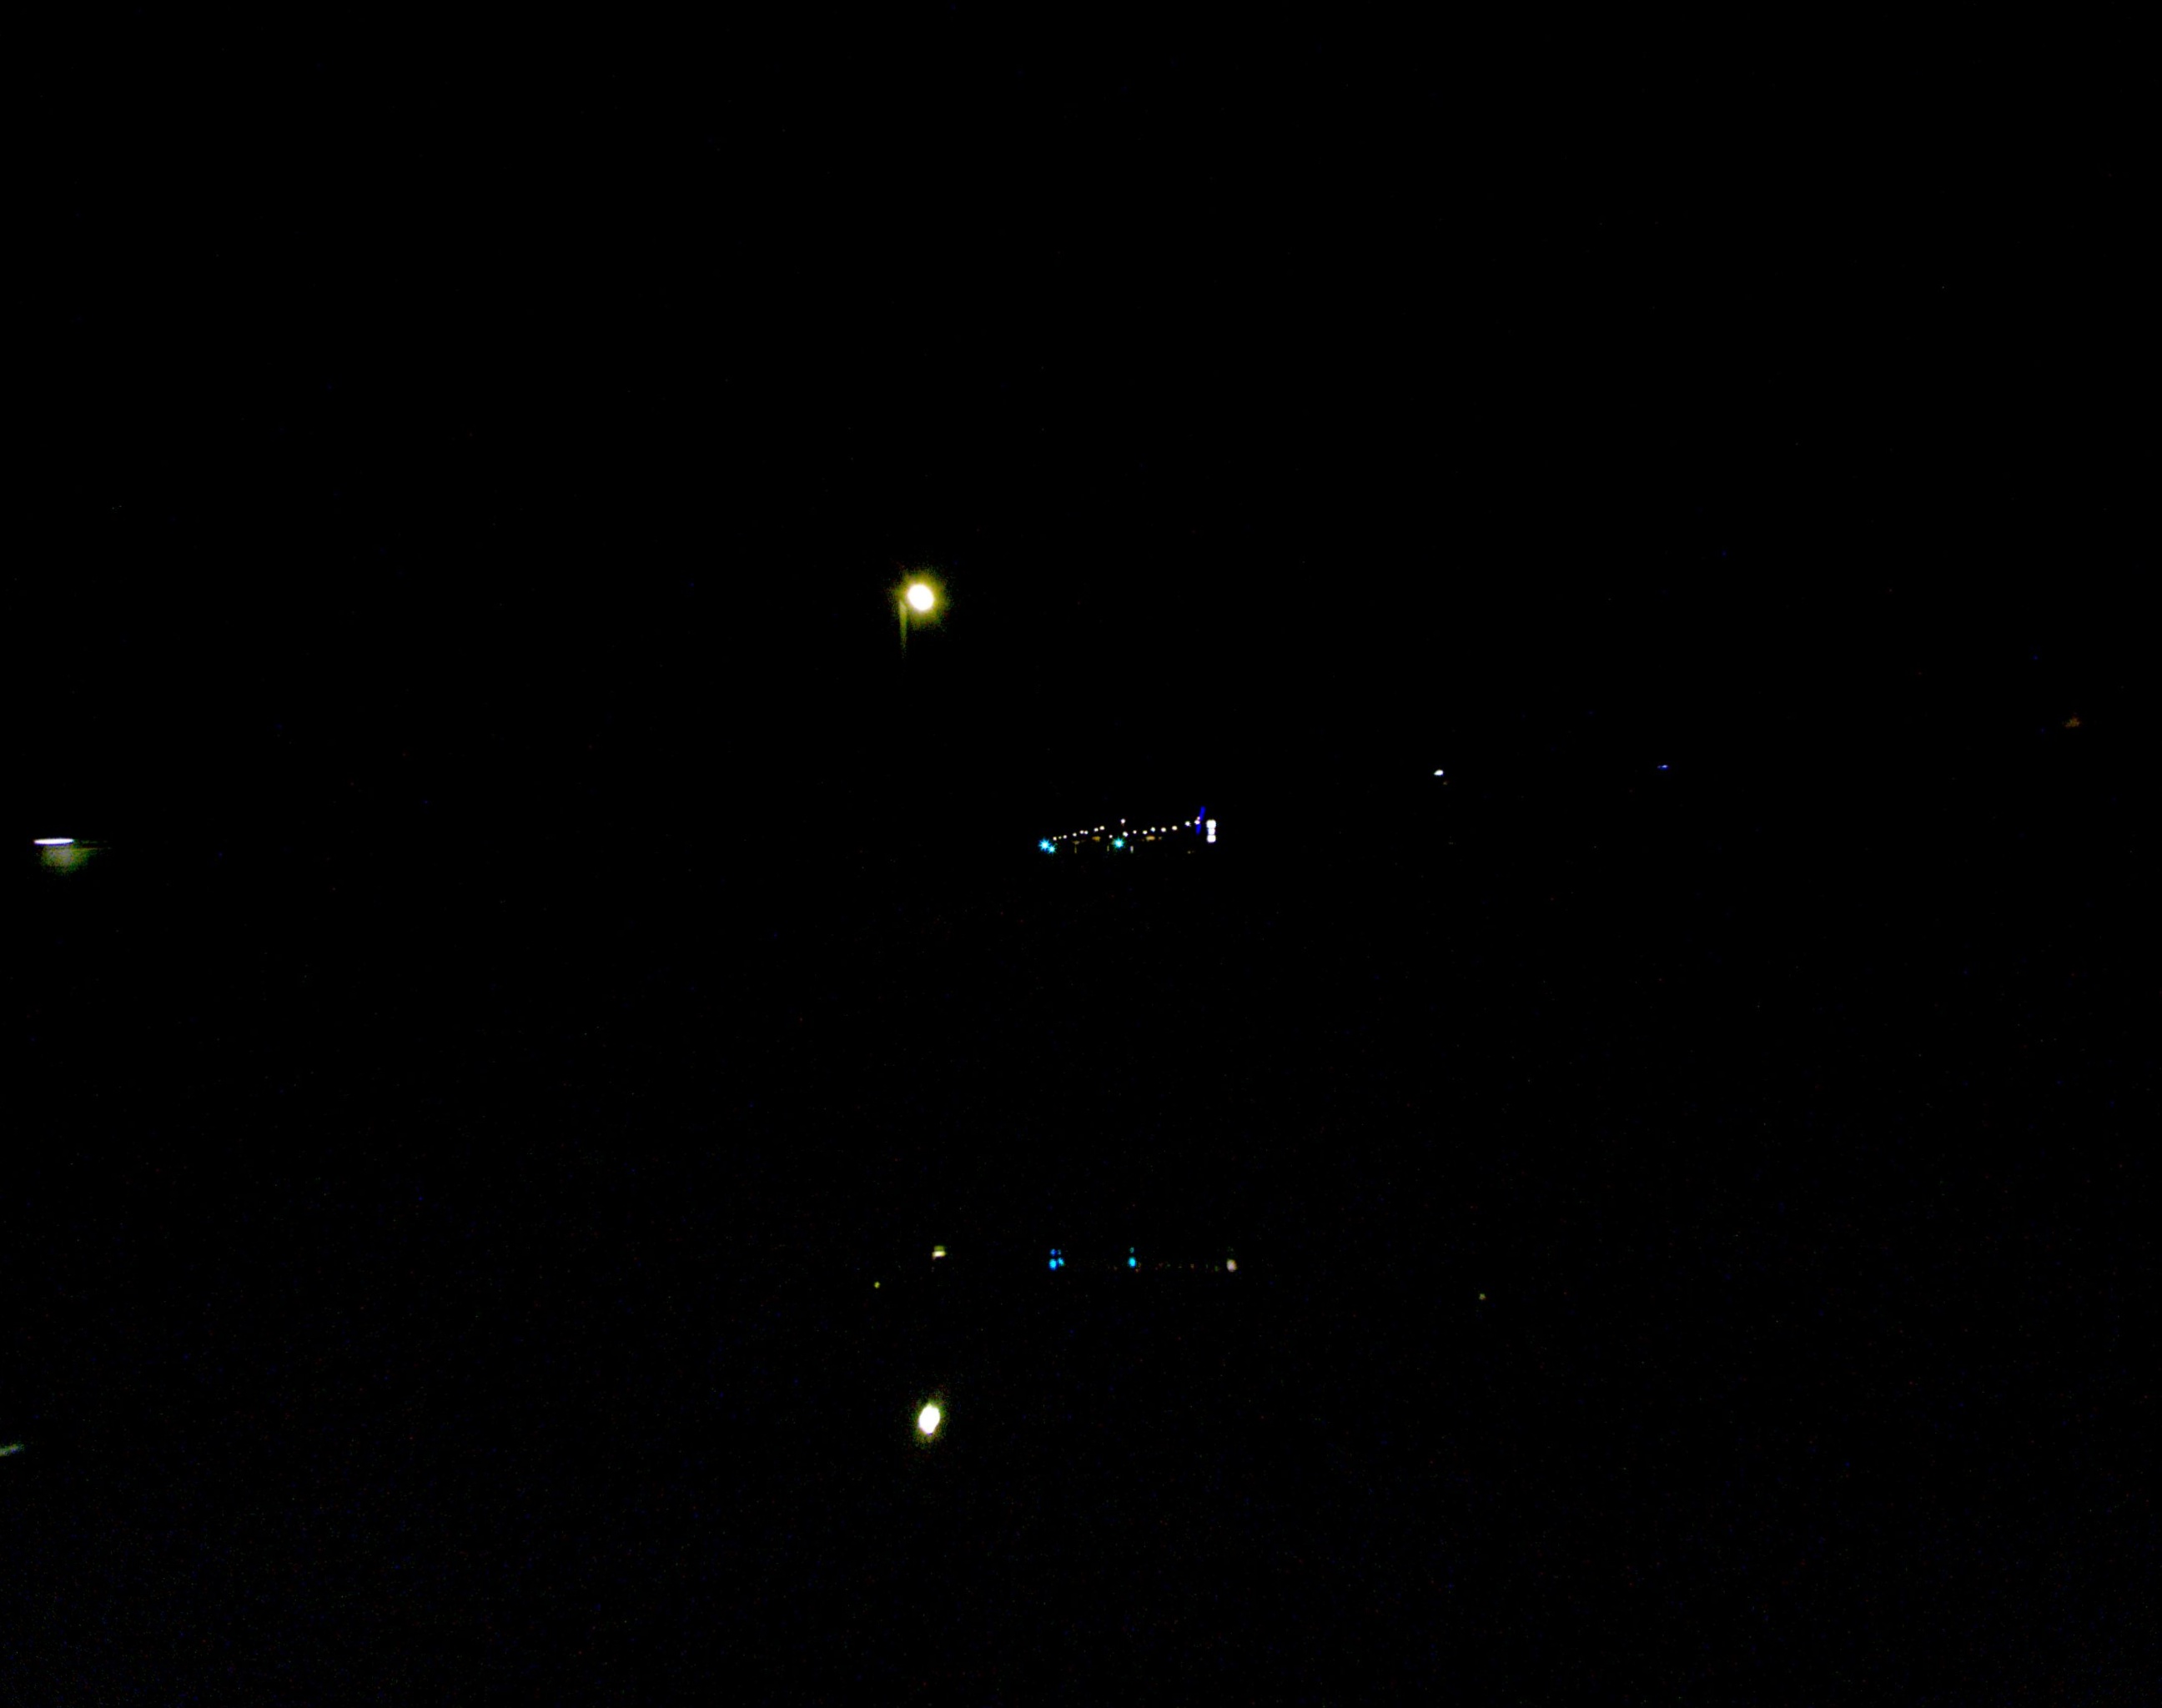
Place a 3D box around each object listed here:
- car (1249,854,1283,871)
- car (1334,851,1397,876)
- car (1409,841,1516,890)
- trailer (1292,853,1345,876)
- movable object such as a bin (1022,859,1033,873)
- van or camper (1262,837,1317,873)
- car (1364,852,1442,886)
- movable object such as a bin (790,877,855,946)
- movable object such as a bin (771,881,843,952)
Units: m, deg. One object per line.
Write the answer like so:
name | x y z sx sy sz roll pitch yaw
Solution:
car | 15.785 0.711 65.129 1.650 1.331 4.542 3 0 -1
car | 16.268 0.540 43.489 3.037 1.318 1.533 -1 1 -5
car | 15.858 0.434 31.900 1.862 1.893 4.878 -1 0 -3
trailer | 16.197 0.680 52.110 2.425 1.367 4.656 3 0 5
movable object such as a bin | -4.447 1.011 63.388 0.725 1.194 0.720 -1 1 7
van or camper | 15.980 0.058 58.719 2.279 2.632 5.662 1 0 -4
car | 15.954 0.684 37.984 1.906 1.513 5.172 -1 0 3
movable object such as a bin | -4.620 1.011 13.640 0.835 1.174 0.828 -1 0 3
movable object such as a bin | -4.580 1.025 12.764 0.859 1.113 0.840 -1 0 3
